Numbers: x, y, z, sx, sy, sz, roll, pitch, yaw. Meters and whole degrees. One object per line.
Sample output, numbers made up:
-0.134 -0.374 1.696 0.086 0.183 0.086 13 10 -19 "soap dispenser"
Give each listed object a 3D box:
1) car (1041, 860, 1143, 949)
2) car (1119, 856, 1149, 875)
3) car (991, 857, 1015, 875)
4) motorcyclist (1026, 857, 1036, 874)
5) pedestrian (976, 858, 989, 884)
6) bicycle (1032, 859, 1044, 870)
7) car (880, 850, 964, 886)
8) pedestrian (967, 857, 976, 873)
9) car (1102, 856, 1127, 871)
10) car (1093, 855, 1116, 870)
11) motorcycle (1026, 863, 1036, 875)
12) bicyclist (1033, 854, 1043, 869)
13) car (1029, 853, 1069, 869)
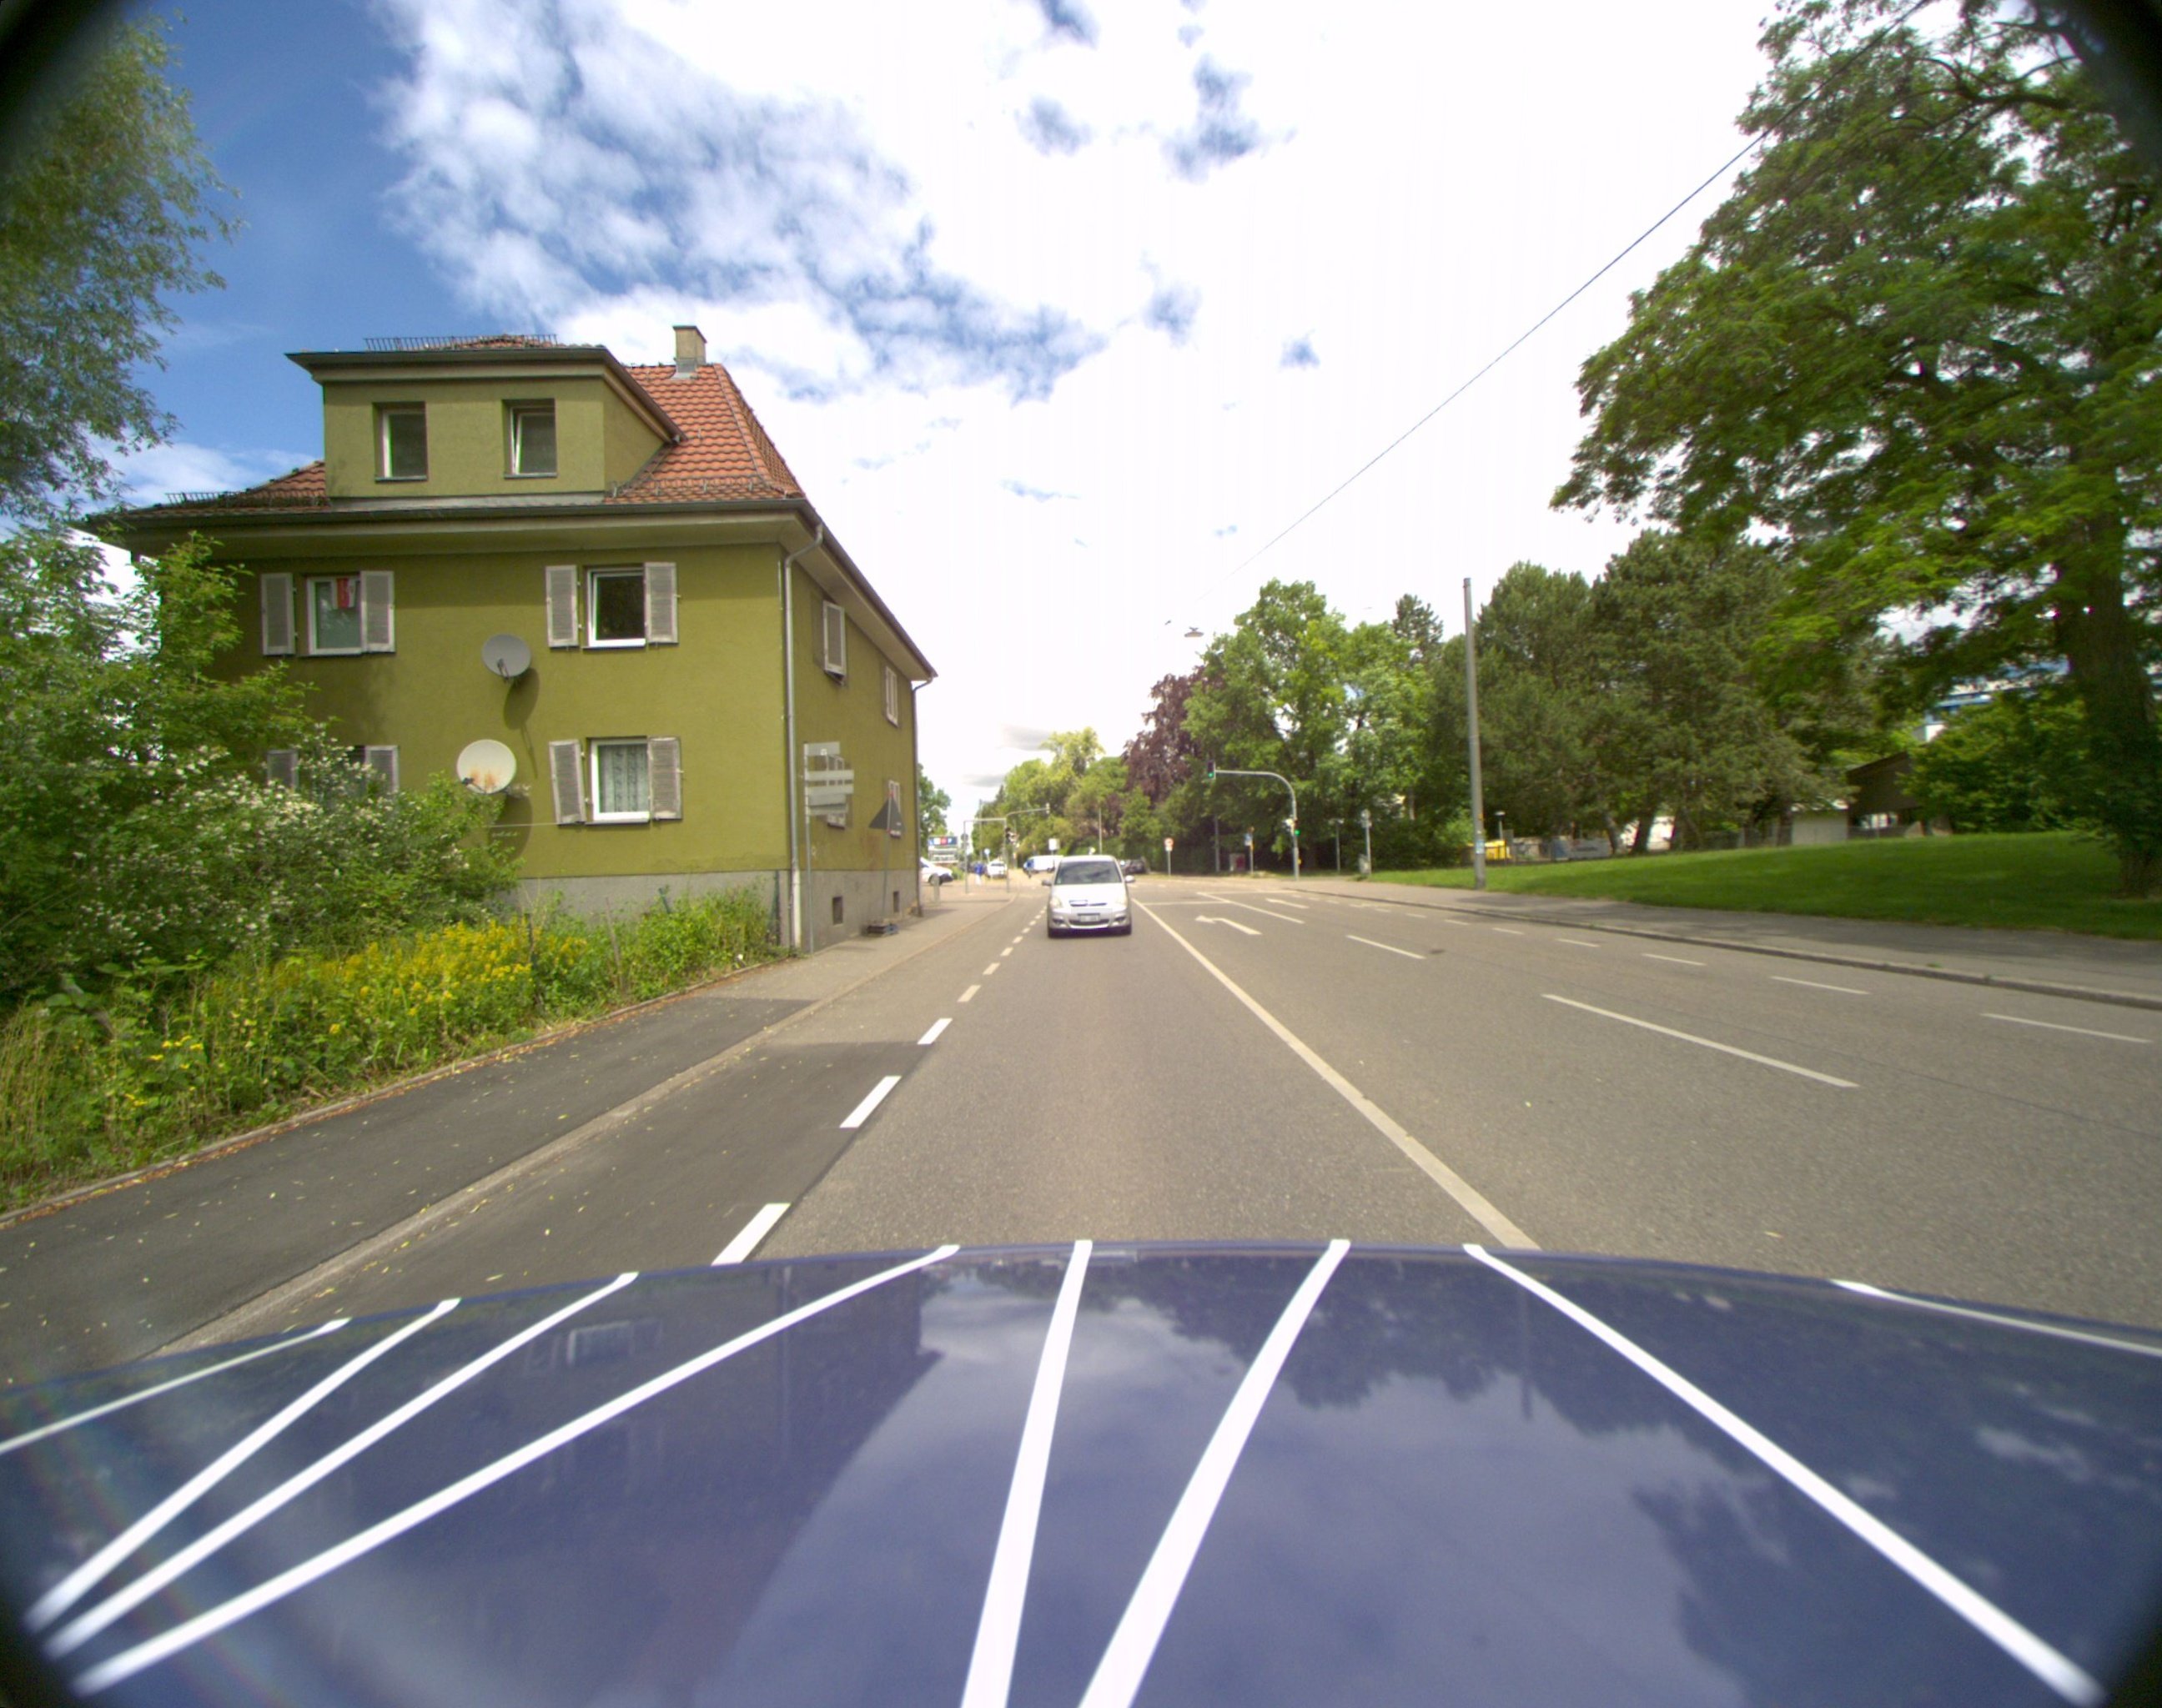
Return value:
0.223 0.931 15.749 1.780 1.519 4.000 -2 0 1 "car"
4.686 1.003 67.539 1.900 1.501 3.997 0 1 -7 "car"
-7.070 1.088 69.039 1.799 1.501 3.999 -1 0 -1 "car"
-4.515 1.022 68.796 0.837 1.547 0.650 0 1 -1 "motorcyclist"
-6.104 1.059 46.901 0.729 1.543 1.056 -2 0 -10 "pedestrian"
-4.674 1.162 82.635 0.814 1.101 1.797 -4 0 -18 "bicycle"
-9.355 0.821 44.963 4.364 1.983 2.001 -1 1 9 "car"
-11.565 1.115 80.301 0.723 1.651 0.777 -4 1 -4 "pedestrian"
3.348 0.946 77.220 1.900 1.501 3.997 0 1 -7 "car"
2.469 0.925 82.204 1.900 1.501 3.997 0 1 -7 "car"
-4.520 1.349 68.850 0.837 1.101 1.800 0 0 -1 "motorcycle"
-4.683 0.828 82.595 0.808 1.599 0.771 -4 1 -18 "bicyclist"
-3.727 0.766 86.949 4.490 1.787 1.804 0 1 40 "car"
